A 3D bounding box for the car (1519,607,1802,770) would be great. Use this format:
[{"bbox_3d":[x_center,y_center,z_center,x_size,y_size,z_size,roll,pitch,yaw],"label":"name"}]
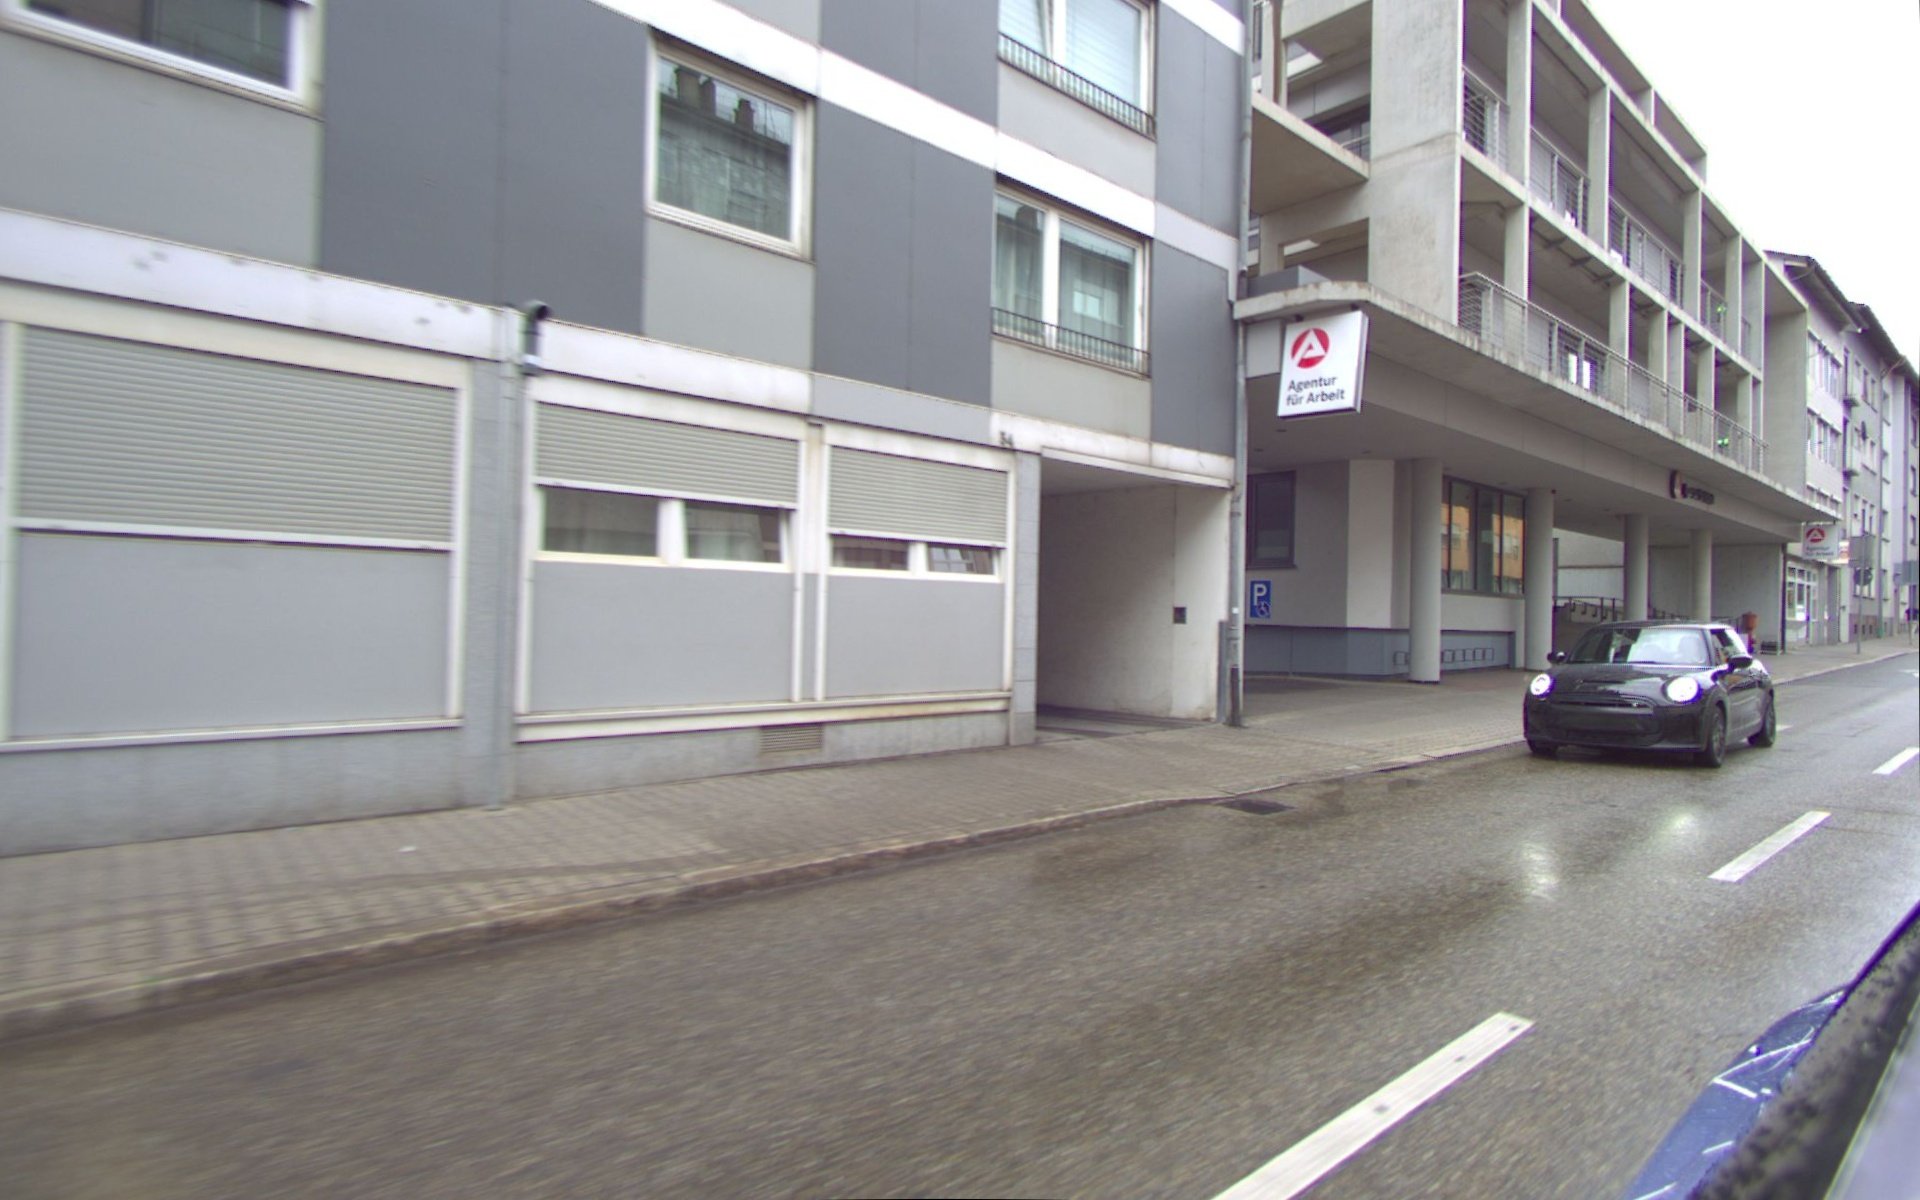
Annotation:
[{"bbox_3d":[7.853,0.836,11.198,4.002,1.439,1.662,0,-2,-42],"label":"car"}]
